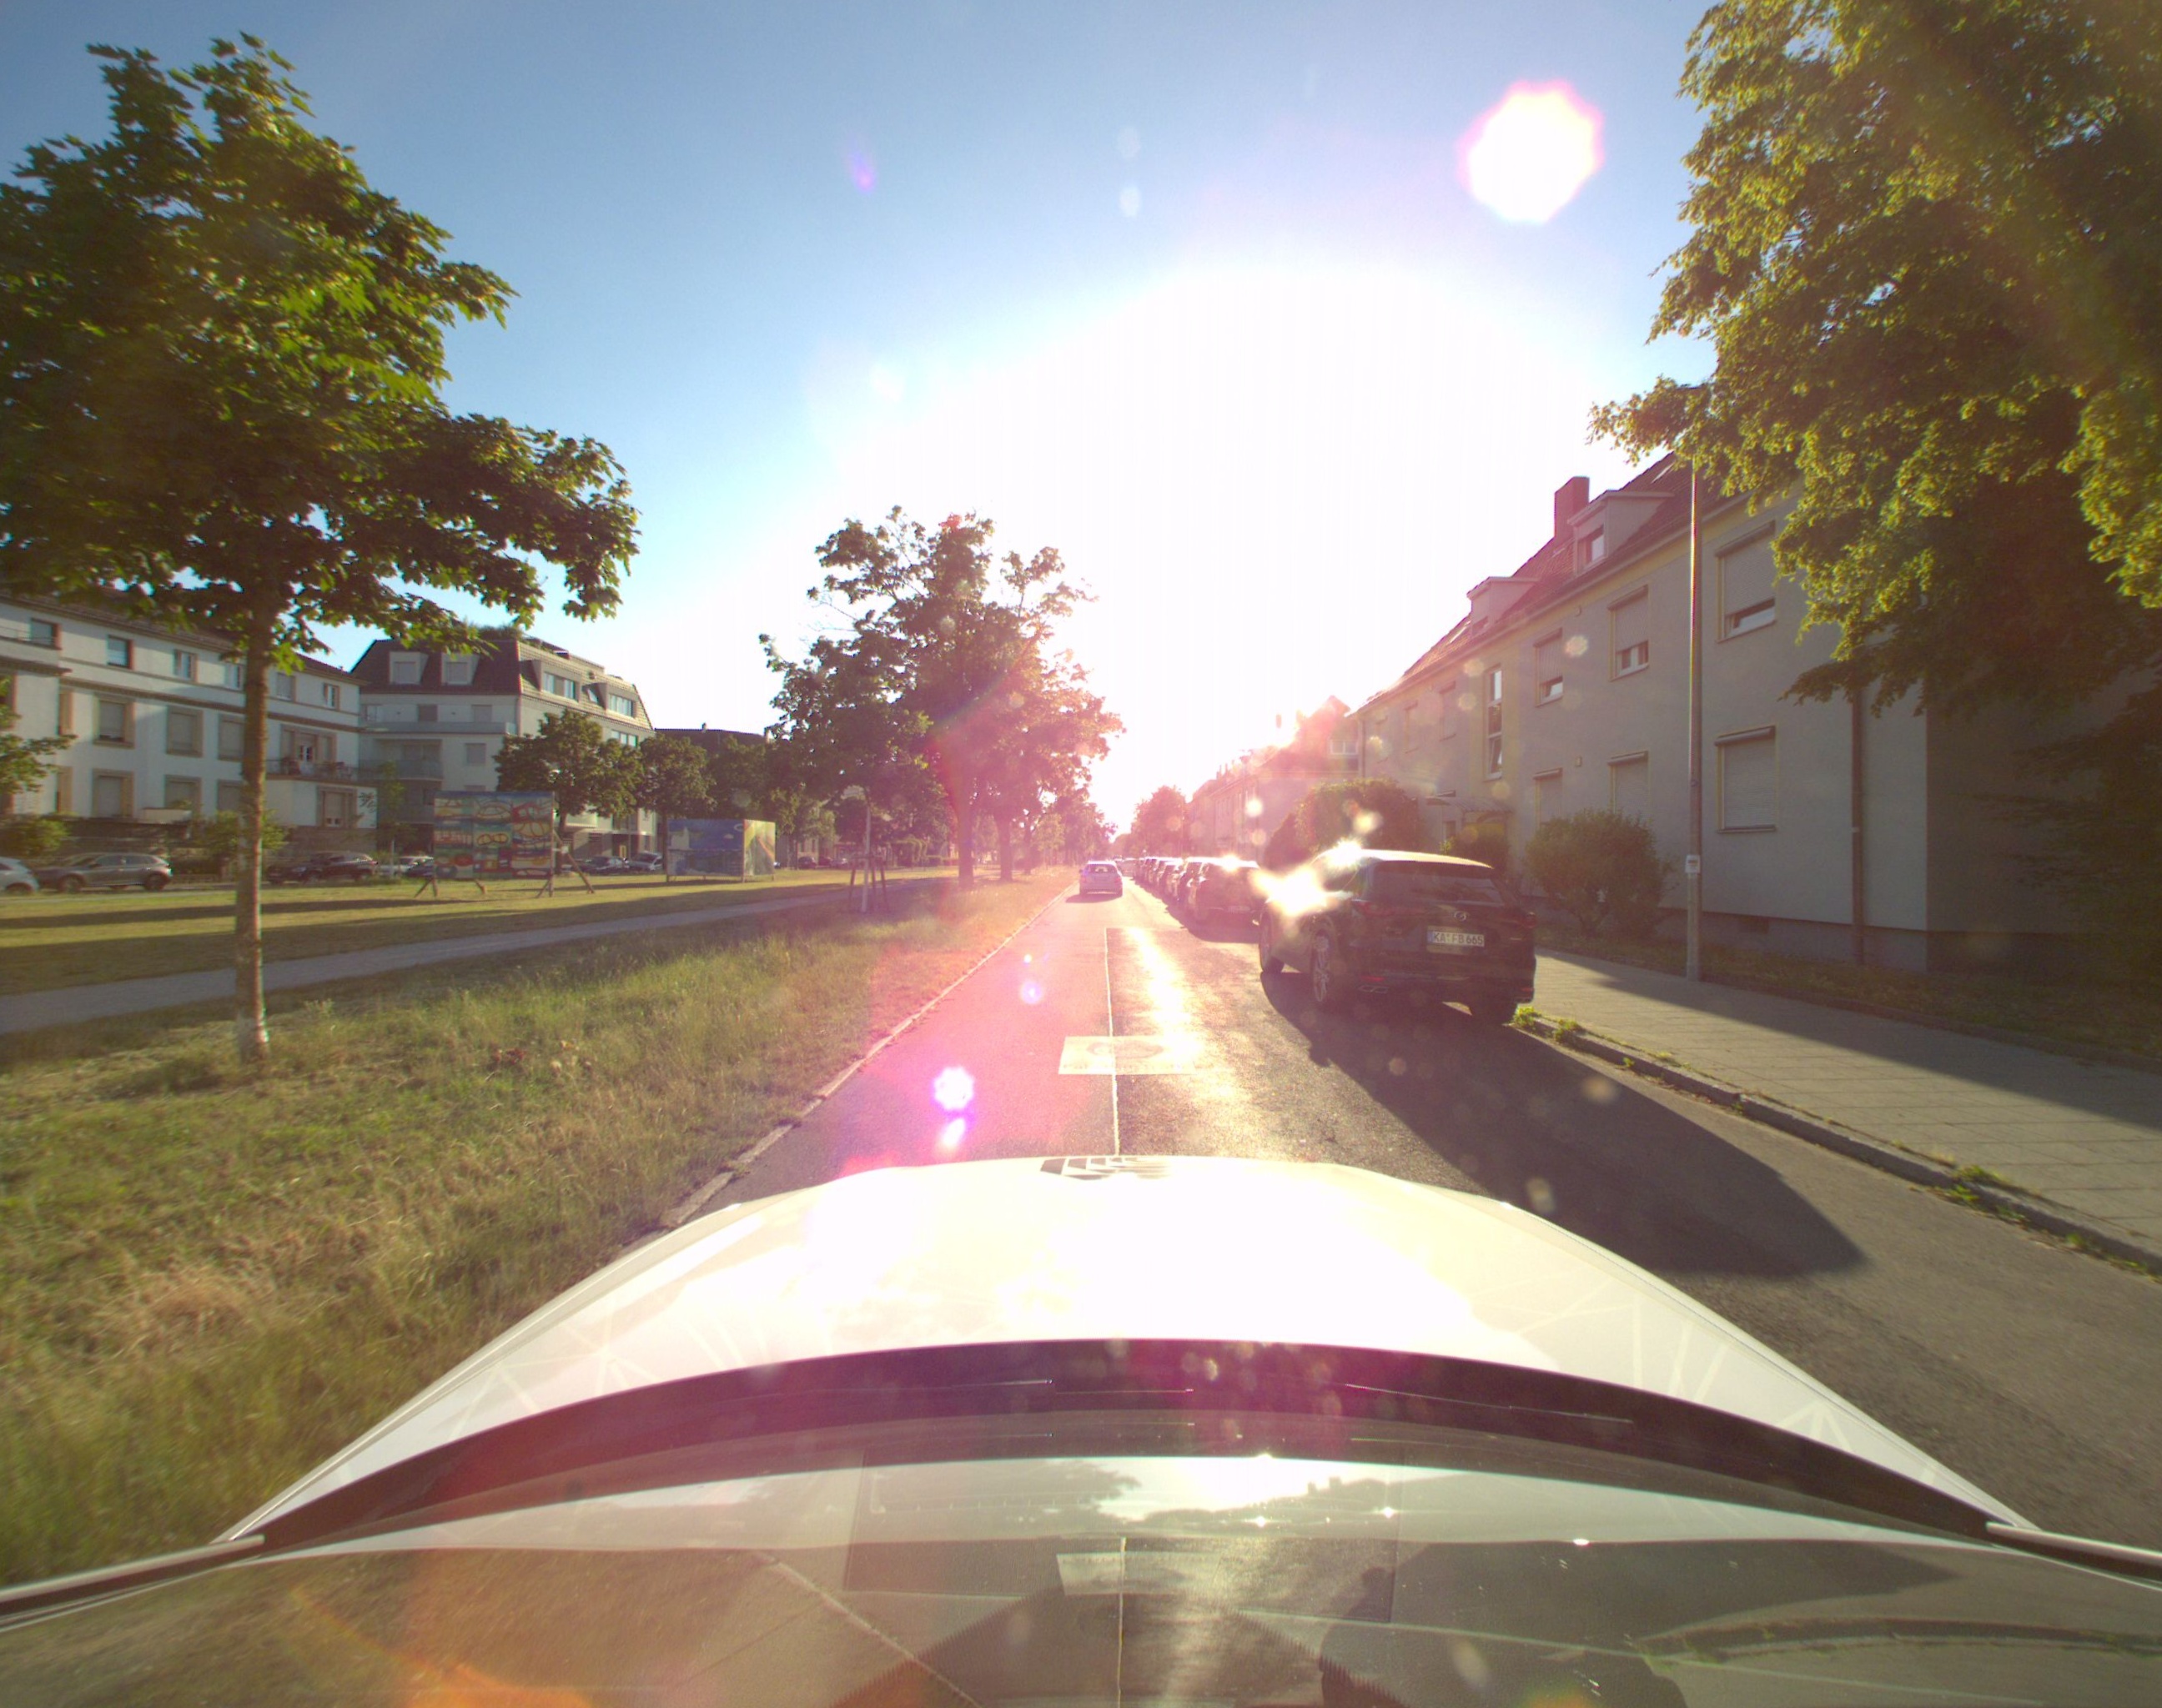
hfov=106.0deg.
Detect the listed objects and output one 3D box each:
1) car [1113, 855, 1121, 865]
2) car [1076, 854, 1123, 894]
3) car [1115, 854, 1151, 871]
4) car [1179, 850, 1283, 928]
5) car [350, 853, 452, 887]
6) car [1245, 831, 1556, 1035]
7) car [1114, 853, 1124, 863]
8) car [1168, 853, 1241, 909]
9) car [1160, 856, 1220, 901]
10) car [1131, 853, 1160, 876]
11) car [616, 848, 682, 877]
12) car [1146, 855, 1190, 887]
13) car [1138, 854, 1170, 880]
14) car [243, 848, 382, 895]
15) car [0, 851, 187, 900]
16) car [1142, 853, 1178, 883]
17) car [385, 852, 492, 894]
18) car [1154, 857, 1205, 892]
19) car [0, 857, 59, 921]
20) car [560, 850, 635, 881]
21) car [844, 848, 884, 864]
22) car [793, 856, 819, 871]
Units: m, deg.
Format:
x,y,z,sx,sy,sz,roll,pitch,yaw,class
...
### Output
x,y,z,sx,sy,sz,roll,pitch,yaw,class
8.084,1.360,184.080,1.854,2.193,5.072,0,-1,2,car
0.820,0.801,34.246,1.816,1.566,4.002,-1,0,2,car
5.901,0.973,92.297,3.872,1.596,2.004,-3,-1,7,car
3.780,0.832,21.375,1.926,1.720,4.622,3,0,1,car
-38.336,0.906,46.077,1.814,1.744,4.462,-3,-1,3,car
3.354,0.746,9.771,1.826,1.732,5.033,3,-1,1,car
7.680,0.813,166.030,1.981,2.023,4.002,0,-1,2,car
4.000,0.820,27.077,1.847,1.657,4.822,1,0,2,car
4.246,0.953,32.338,1.722,1.548,4.206,5,-1,0,car
5.035,0.790,63.905,1.712,1.639,4.561,2,0,-2,car
-31.978,0.676,60.484,2.013,2.001,5.367,-3,-1,-2,car
4.475,0.843,42.465,1.720,1.561,4.414,1,0,-1,car
4.740,0.824,53.565,1.771,1.643,4.757,0,-1,1,car
-38.592,0.893,41.115,2.229,2.131,4.857,-3,-1,3,car
-38.612,0.832,31.944,1.775,1.703,4.668,-3,-1,2,car
4.632,0.824,48.274,1.759,1.635,4.765,2,-1,1,car
-32.587,0.955,41.491,1.882,1.917,4.329,-3,-1,2,car
4.444,0.901,37.285,1.985,1.462,4.565,2,0,3,car
-33.183,1.063,23.313,1.826,1.899,4.645,-3,-1,3,car
-31.989,0.790,54.051,1.921,1.828,4.693,-3,-1,2,car
-37.310,0.377,140.048,6.332,2.720,1.984,0,0,-29,car
-35.839,1.260,106.125,1.636,1.707,4.297,-3,-1,3,car
